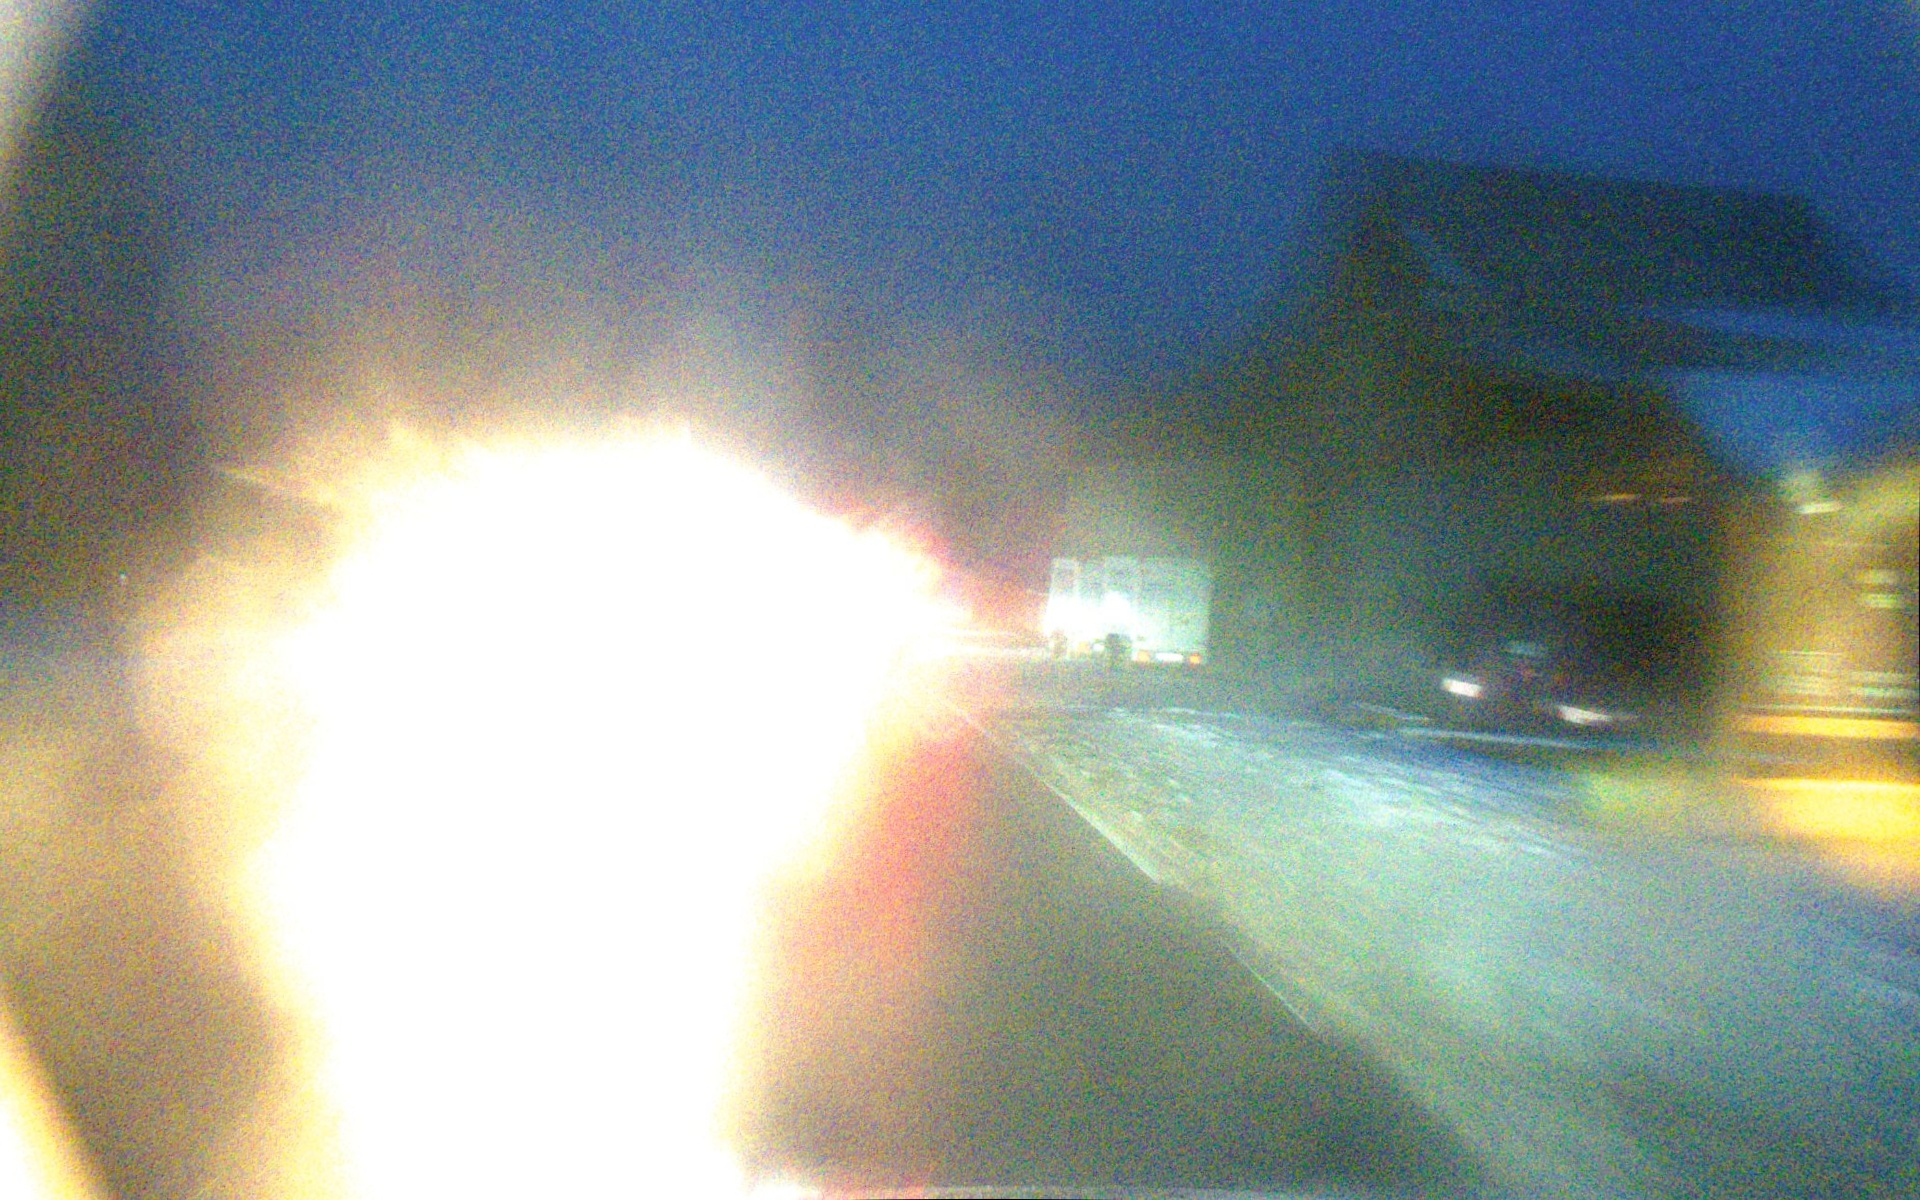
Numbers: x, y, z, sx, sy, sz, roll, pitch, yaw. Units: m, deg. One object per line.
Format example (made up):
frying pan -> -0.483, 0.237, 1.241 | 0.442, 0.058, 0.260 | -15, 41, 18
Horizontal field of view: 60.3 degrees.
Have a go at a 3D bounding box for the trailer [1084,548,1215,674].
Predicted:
trailer -> 3.975, 0.197, 35.374 | 1.575, 2.393, 4.423 | 4, 0, -8

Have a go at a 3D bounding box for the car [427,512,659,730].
car -> -4.592, 0.201, 18.931 | 1.882, 2.092, 4.880 | 3, 0, -7

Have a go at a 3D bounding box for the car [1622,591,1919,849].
car -> 7.516, 0.898, 13.601 | 1.844, 1.841, 4.145 | 3, 0, -11

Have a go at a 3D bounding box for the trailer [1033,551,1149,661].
trailer -> 3.102, 0.115, 40.129 | 1.600, 2.405, 4.644 | 4, 0, -9

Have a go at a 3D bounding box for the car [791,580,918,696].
car -> -1.774, 0.554, 26.730 | 1.767, 1.657, 3.609 | 3, 0, -7

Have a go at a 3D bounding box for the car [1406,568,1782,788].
car -> 6.833, 0.759, 18.405 | 1.844, 2.075, 4.380 | 3, 0, -10

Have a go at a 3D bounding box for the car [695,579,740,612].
car -> -11.304, -0.219, 77.352 | 1.956, 1.485, 4.891 | 1, 0, -7
